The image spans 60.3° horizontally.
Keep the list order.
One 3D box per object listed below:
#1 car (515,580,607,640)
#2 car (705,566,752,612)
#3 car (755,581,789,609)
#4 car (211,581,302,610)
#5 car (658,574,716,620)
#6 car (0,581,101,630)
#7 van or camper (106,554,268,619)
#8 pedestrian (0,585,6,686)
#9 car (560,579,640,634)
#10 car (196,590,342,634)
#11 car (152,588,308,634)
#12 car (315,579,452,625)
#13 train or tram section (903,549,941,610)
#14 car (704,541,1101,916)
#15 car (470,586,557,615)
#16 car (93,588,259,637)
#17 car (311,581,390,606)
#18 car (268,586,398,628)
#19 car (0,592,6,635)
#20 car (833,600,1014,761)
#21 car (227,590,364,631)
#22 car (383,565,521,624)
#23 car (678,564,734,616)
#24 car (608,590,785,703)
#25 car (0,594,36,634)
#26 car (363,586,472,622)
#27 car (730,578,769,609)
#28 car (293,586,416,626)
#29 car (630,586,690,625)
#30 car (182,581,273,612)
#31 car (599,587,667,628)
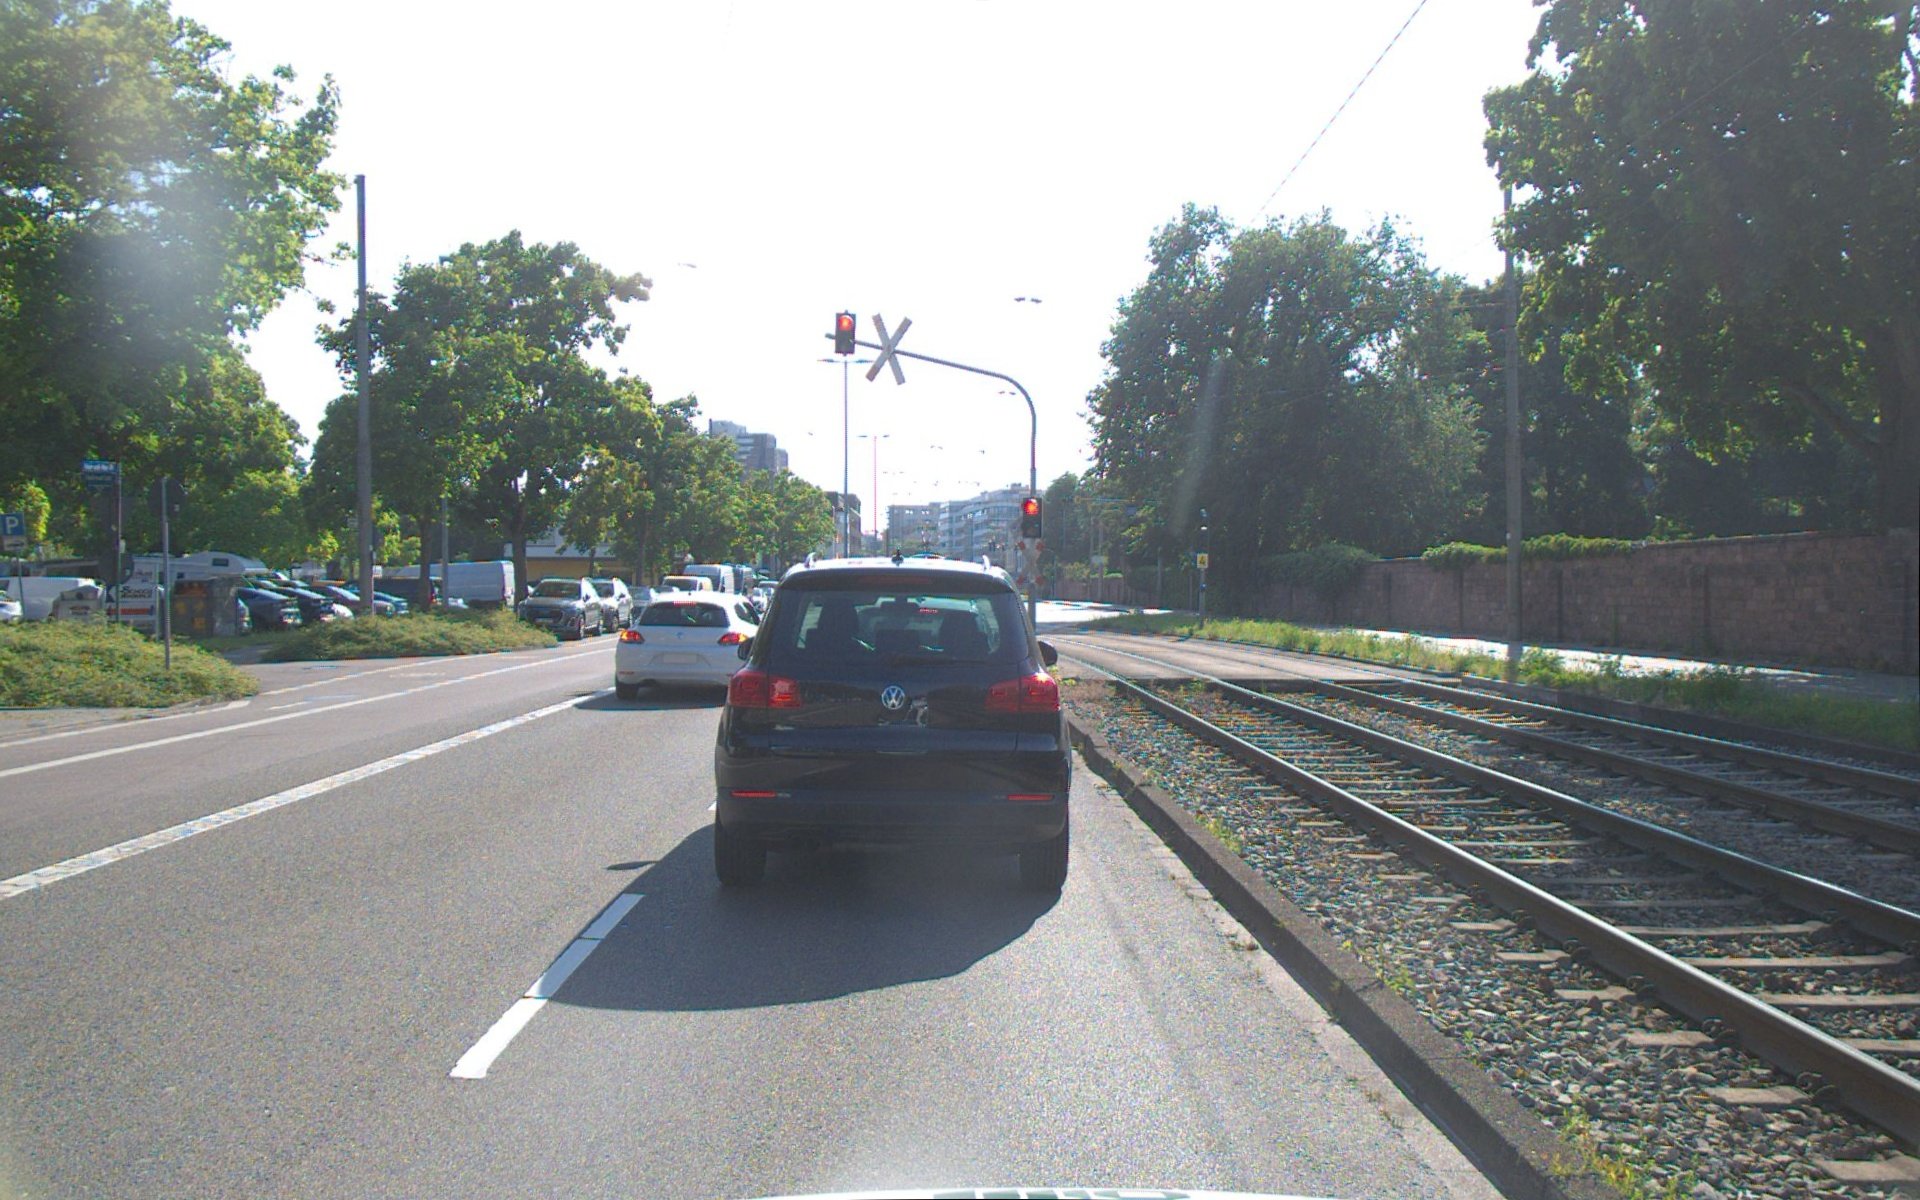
[{"bbox_3d":[-11.670,0.252,48.597,1.696,1.686,4.000,0,1,0],"label":"car"},{"bbox_3d":[-11.883,-0.590,85.169,1.696,2.308,4.645,0,1,0],"label":"car"},{"bbox_3d":[-12.267,-0.349,108.195,1.696,1.724,4.001,0,1,0],"label":"car"},{"bbox_3d":[-35.721,-0.223,84.037,3.908,1.422,1.736,0,1,-4],"label":"car"},{"bbox_3d":[-11.790,-0.146,71.669,1.696,1.892,4.489,0,1,0],"label":"car"},{"bbox_3d":[-33.951,0.189,60.726,3.912,1.758,1.624,0,0,-8],"label":"car"},{"bbox_3d":[-35.324,-0.619,75.702,6.332,2.918,2.307,0,0,-1],"label":"van or camper"},{"bbox_3d":[-15.977,0.591,26.948,0.514,1.656,0.610,0,0,-1],"label":"pedestrian"},{"bbox_3d":[-11.721,0.177,54.081,1.696,1.724,4.001,0,1,0],"label":"car"},{"bbox_3d":[-21.853,0.381,52.423,3.908,1.330,1.736,0,1,-4],"label":"car"},{"bbox_3d":[-21.938,0.306,49.824,3.908,1.330,1.736,0,1,-4],"label":"car"},{"bbox_3d":[-22.004,0.060,63.271,4.526,1.680,2.048,0,1,-3],"label":"car"},{"bbox_3d":[-2.341,-1.301,103.958,2.279,3.632,8.898,0,1,-1],"label":"train or tram section"},{"bbox_3d":[-0.288,0.577,9.495,1.774,1.673,3.999,1,0,-1],"label":"car"},{"bbox_3d":[-22.156,0.006,82.192,3.908,1.422,1.736,0,1,-4],"label":"car"},{"bbox_3d":[-22.418,0.350,47.403,3.908,1.330,1.736,0,1,-4],"label":"car"},{"bbox_3d":[-35.340,-0.369,95.961,3.908,1.422,1.736,0,1,-4],"label":"car"},{"bbox_3d":[-21.922,0.238,57.916,3.908,1.422,1.736,0,1,-4],"label":"car"},{"bbox_3d":[-34.550,0.476,55.619,3.908,1.483,1.736,0,0,-4],"label":"car"},{"bbox_3d":[-0.361,0.731,17.074,1.635,1.411,3.999,0,1,-1],"label":"car"},{"bbox_3d":[-22.341,0.349,55.694,3.908,1.330,1.736,0,1,-4],"label":"car"},{"bbox_3d":[-21.858,-0.265,71.284,5.266,2.466,2.087,0,0,-1],"label":"car"},{"bbox_3d":[-11.970,-0.484,78.339,1.825,2.388,4.985,0,1,0],"label":"car"},{"bbox_3d":[-3.494,0.563,22.595,1.827,1.371,3.999,1,1,-1],"label":"car"},{"bbox_3d":[-35.031,0.496,58.446,3.903,1.384,1.628,0,0,4],"label":"car"},{"bbox_3d":[-22.211,0.143,67.838,3.908,1.422,1.736,0,1,-4],"label":"car"},{"bbox_3d":[-12.300,-0.415,96.809,1.696,1.724,4.001,0,1,0],"label":"car"},{"bbox_3d":[-22.243,0.208,60.878,3.908,1.422,1.736,0,1,-4],"label":"car"},{"bbox_3d":[-12.008,0.182,66.347,1.696,1.475,3.735,0,1,0],"label":"car"},{"bbox_3d":[-34.909,-0.172,78.881,3.591,1.422,1.736,0,1,-4],"label":"car"},{"bbox_3d":[-11.918,0.258,60.464,1.696,1.413,3.735,0,1,0],"label":"car"}]
